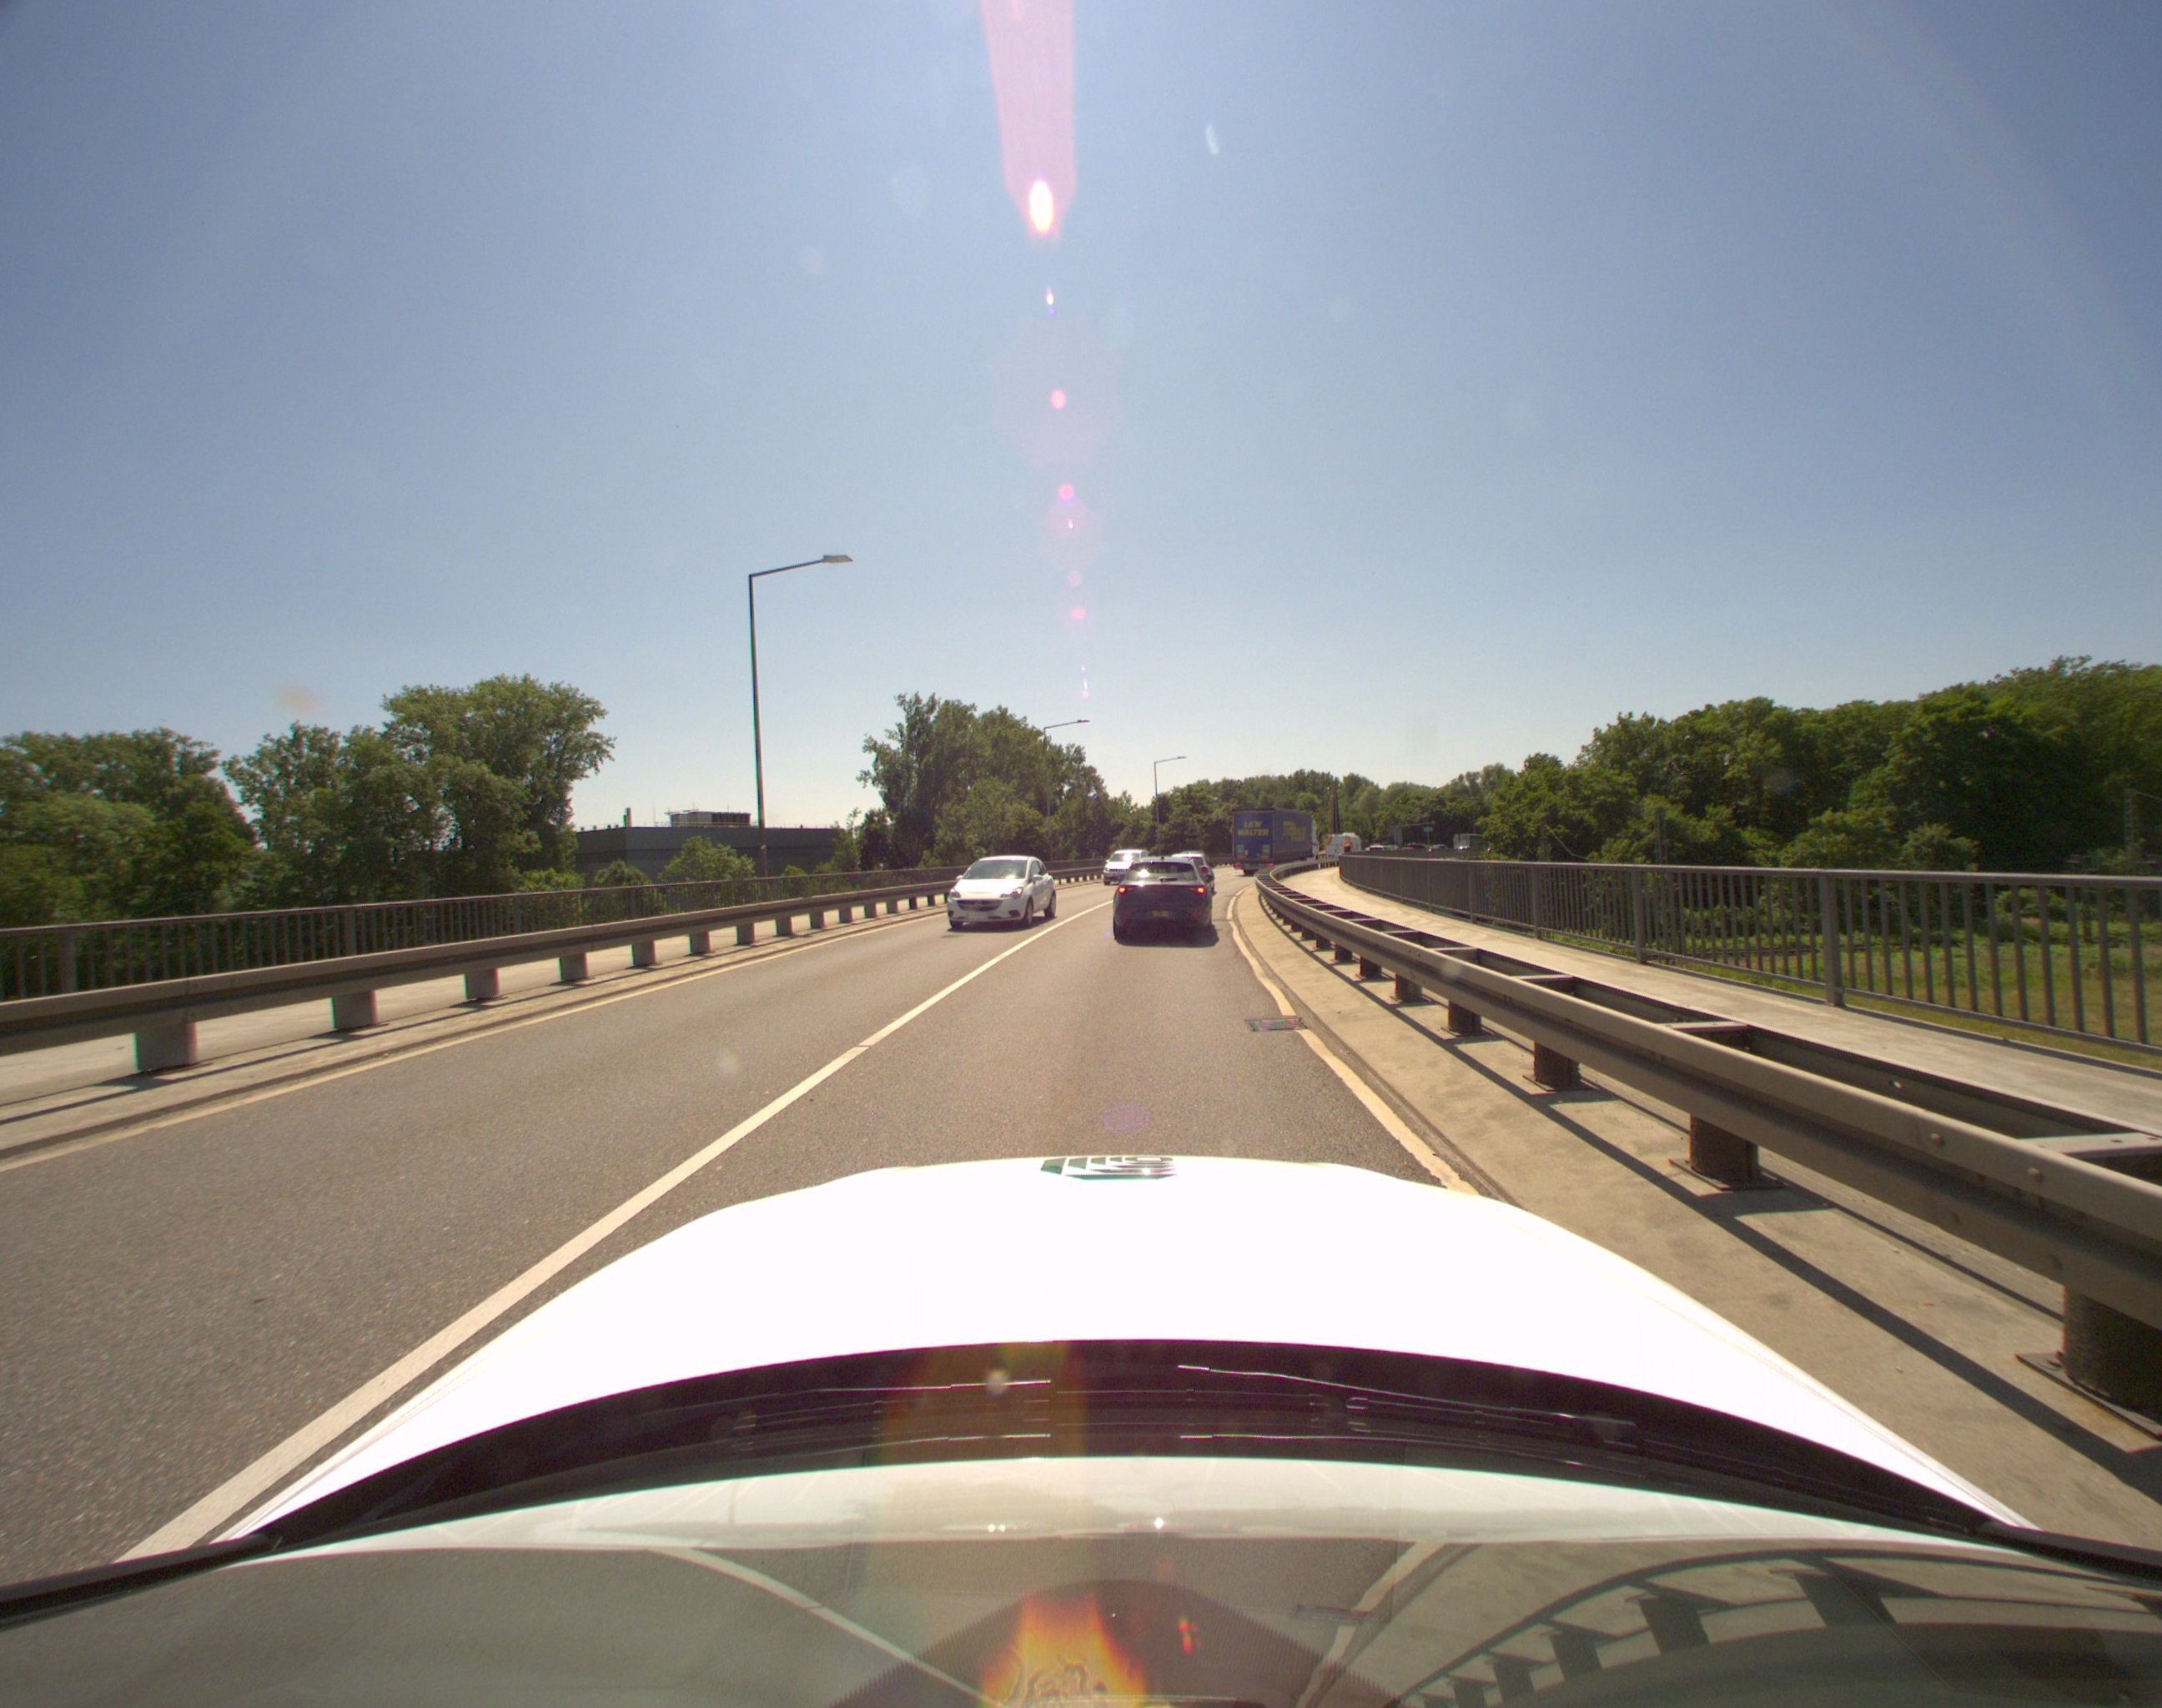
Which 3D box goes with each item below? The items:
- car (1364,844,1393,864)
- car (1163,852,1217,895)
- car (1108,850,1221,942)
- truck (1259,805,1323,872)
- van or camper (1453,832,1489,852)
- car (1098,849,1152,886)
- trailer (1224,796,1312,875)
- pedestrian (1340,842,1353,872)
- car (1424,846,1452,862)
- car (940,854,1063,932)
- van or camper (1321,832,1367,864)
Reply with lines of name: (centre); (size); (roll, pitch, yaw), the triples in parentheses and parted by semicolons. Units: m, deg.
car: (29.792, 0.018, 81.544); (1.870, 1.850, 4.025); (-1, -1, 32)
car: (3.972, 0.665, 29.270); (1.582, 1.461, 3.557); (0, 0, 13)
car: (1.521, 0.680, 15.296); (1.837, 1.498, 3.763); (-1, 0, 5)
truck: (15.618, -1.030, 60.156); (3.141, 4.585, 7.439); (-1, -1, 25)
van or camper: (53.593, -1.650, 111.923); (4.984, 2.292, 2.464); (4, 2, -40)
car: (2.154, 0.609, 38.888); (1.703, 1.615, 4.135); (-2, 0, 14)
trailer: (12.656, -1.065, 53.875); (3.106, 4.614, 13.022); (0, 0, 25)
pedestrian: (17.669, 0.195, 54.238); (0.730, 1.967, 0.738); (-1, -1, 24)
car: (42.316, 0.050, 96.506); (1.871, 1.850, 4.024); (-1, -1, 42)
car: (-1.629, 0.783, 18.020); (1.715, 1.483, 3.876); (-2, -1, 9)
van or camper: (23.586, -0.577, 72.857); (2.181, 2.711, 5.964); (-1, 0, 35)
